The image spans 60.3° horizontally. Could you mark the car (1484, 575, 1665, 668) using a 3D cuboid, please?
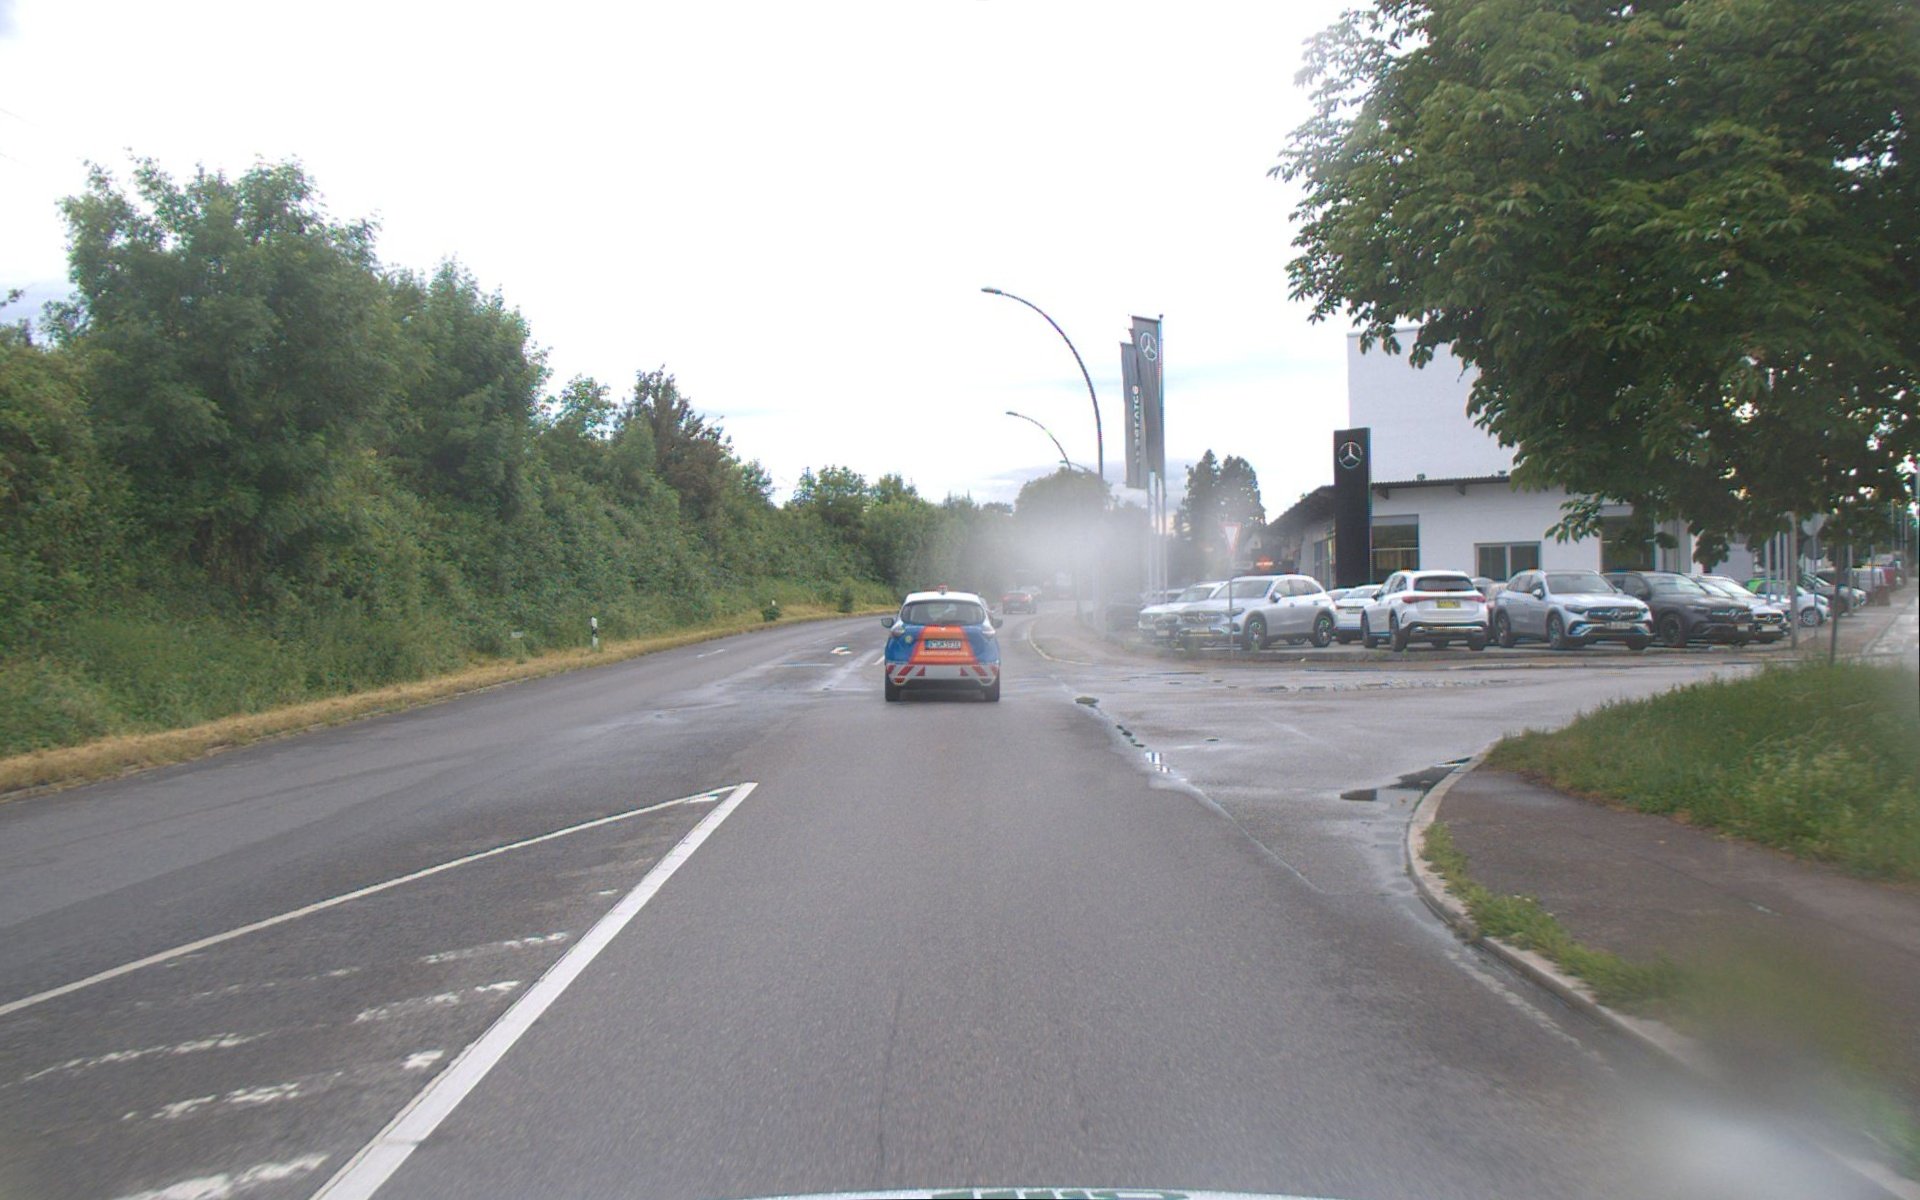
[{"bbox_3d":[12.843,0.481,34.883,1.897,1.782,4.615,2,-1,-3],"label":"car"}]

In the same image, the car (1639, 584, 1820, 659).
[{"bbox_3d":[18.294,0.531,39.570,1.620,1.631,4.608,2,-2,-10],"label":"car"}]

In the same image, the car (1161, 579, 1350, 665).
[{"bbox_3d":[6.804,0.529,37.773,2.001,1.782,4.585,0,-2,44],"label":"car"}]

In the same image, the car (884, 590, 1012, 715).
[{"bbox_3d":[-0.197,0.789,25.206,1.769,1.697,3.854,2,-2,-1],"label":"car"}]

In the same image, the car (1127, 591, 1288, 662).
[{"bbox_3d":[6.848,0.770,45.506,4.571,1.782,1.783,3,-4,-38],"label":"car"}]

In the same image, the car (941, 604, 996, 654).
[{"bbox_3d":[0.339,1.014,57.464,1.658,1.623,3.857,2,-2,3],"label":"car"}]

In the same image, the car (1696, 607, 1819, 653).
[{"bbox_3d":[26.363,0.991,54.692,3.584,1.400,1.653,1,-2,28],"label":"car"}]

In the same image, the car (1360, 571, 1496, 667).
[{"bbox_3d":[9.862,0.428,35.184,1.788,1.861,4.264,2,-2,2],"label":"car"}]

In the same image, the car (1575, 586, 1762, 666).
[{"bbox_3d":[15.709,0.588,36.949,1.620,1.631,4.608,2,-2,-10],"label":"car"}]

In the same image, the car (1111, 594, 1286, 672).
[{"bbox_3d":[5.948,0.878,40.906,2.001,1.782,4.585,-2,-4,44],"label":"car"}]

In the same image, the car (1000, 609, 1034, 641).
[{"bbox_3d":[3.520,1.548,101.488,1.658,1.822,3.858,1,-2,7],"label":"car"}]

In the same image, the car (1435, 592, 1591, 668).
[{"bbox_3d":[13.856,0.749,41.321,1.899,1.782,4.586,0,-1,44],"label":"car"}]

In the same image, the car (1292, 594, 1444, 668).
[{"bbox_3d":[10.498,0.773,42.365,1.896,1.782,4.591,0,-1,41],"label":"car"}]
